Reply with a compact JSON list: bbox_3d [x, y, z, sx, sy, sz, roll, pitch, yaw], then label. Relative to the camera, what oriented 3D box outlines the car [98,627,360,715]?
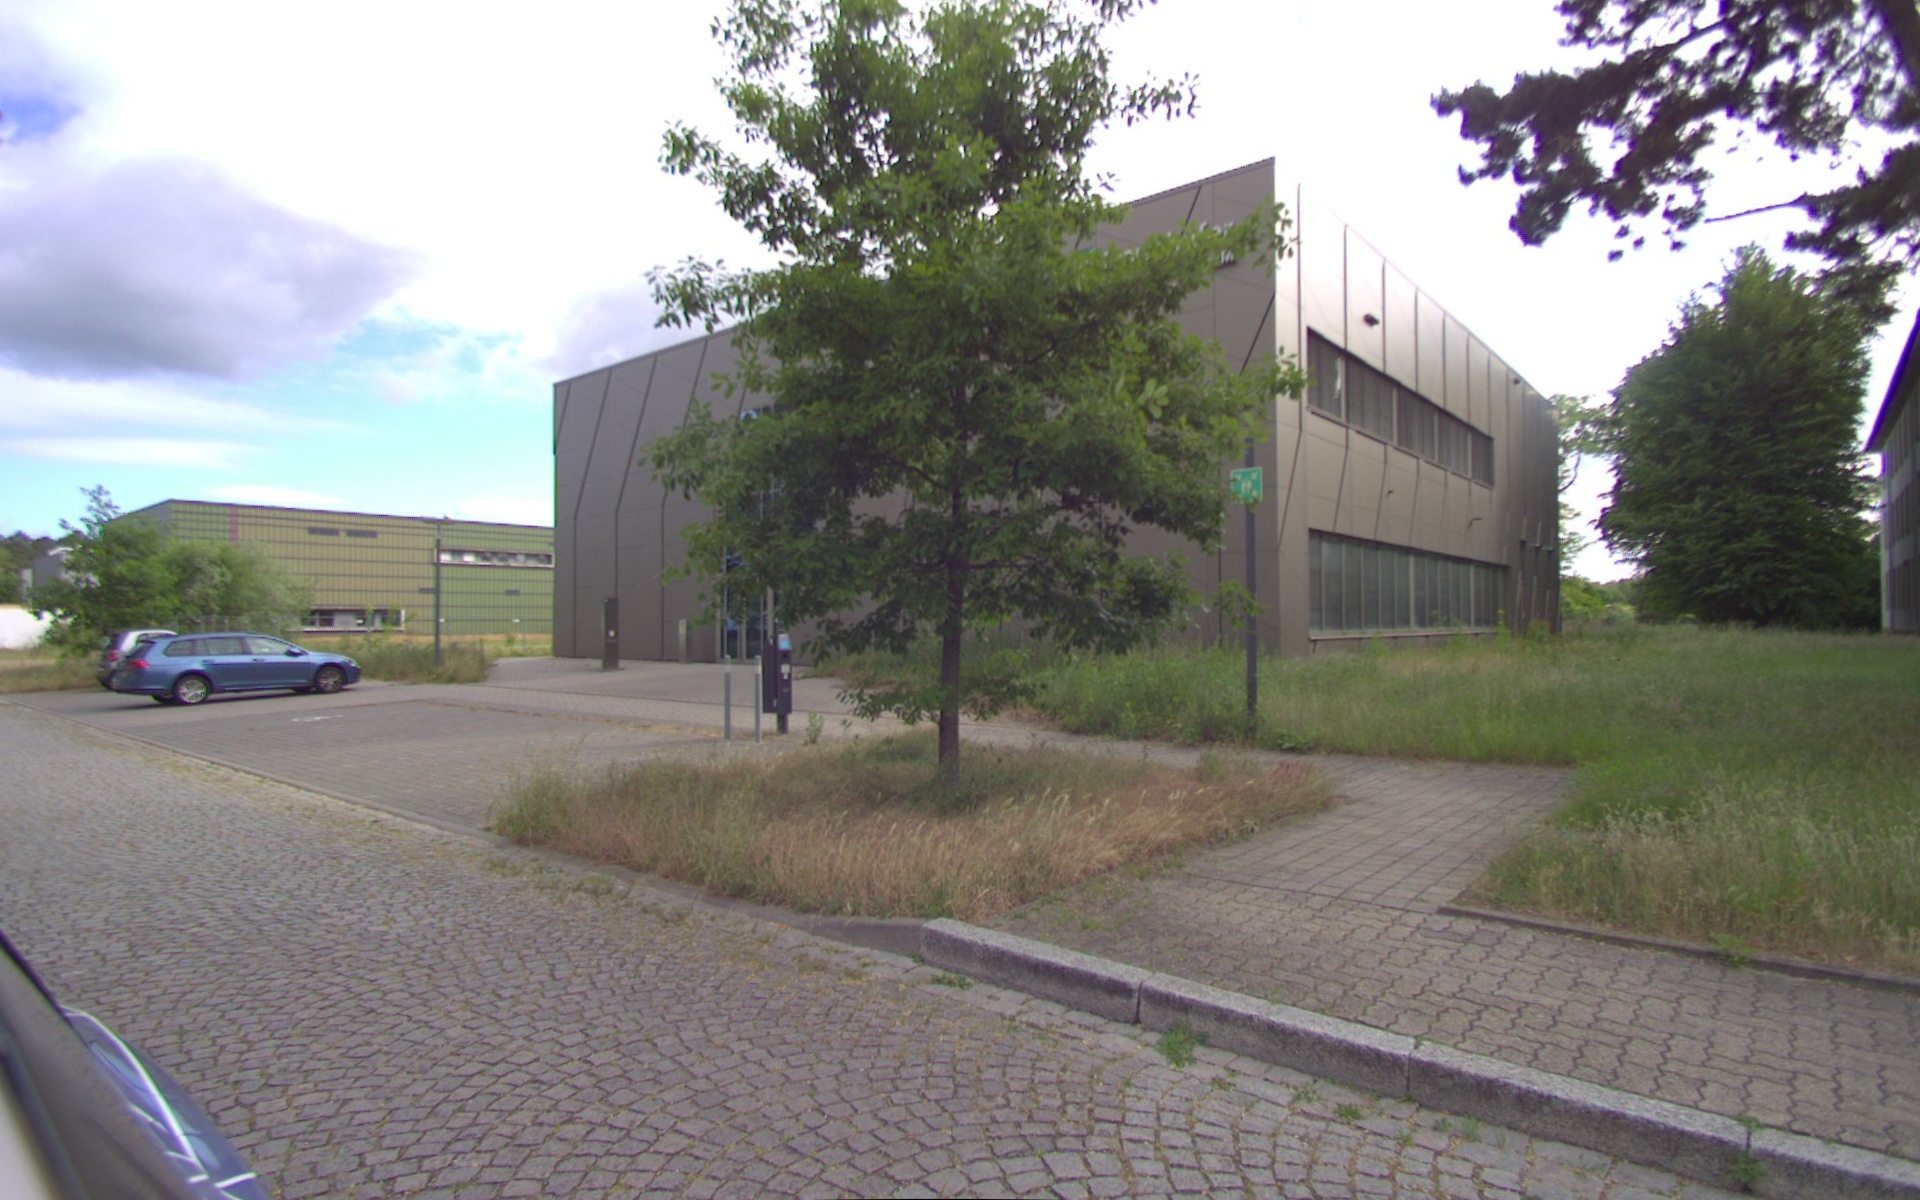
[{"bbox_3d":[-15.922,1.468,22.265,1.714,1.521,4.352,-2,0,37],"label":"car"}]

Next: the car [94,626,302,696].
[{"bbox_3d":[-20.824,1.600,27.769,4.341,1.557,1.843,-2,0,-44],"label":"car"}]
